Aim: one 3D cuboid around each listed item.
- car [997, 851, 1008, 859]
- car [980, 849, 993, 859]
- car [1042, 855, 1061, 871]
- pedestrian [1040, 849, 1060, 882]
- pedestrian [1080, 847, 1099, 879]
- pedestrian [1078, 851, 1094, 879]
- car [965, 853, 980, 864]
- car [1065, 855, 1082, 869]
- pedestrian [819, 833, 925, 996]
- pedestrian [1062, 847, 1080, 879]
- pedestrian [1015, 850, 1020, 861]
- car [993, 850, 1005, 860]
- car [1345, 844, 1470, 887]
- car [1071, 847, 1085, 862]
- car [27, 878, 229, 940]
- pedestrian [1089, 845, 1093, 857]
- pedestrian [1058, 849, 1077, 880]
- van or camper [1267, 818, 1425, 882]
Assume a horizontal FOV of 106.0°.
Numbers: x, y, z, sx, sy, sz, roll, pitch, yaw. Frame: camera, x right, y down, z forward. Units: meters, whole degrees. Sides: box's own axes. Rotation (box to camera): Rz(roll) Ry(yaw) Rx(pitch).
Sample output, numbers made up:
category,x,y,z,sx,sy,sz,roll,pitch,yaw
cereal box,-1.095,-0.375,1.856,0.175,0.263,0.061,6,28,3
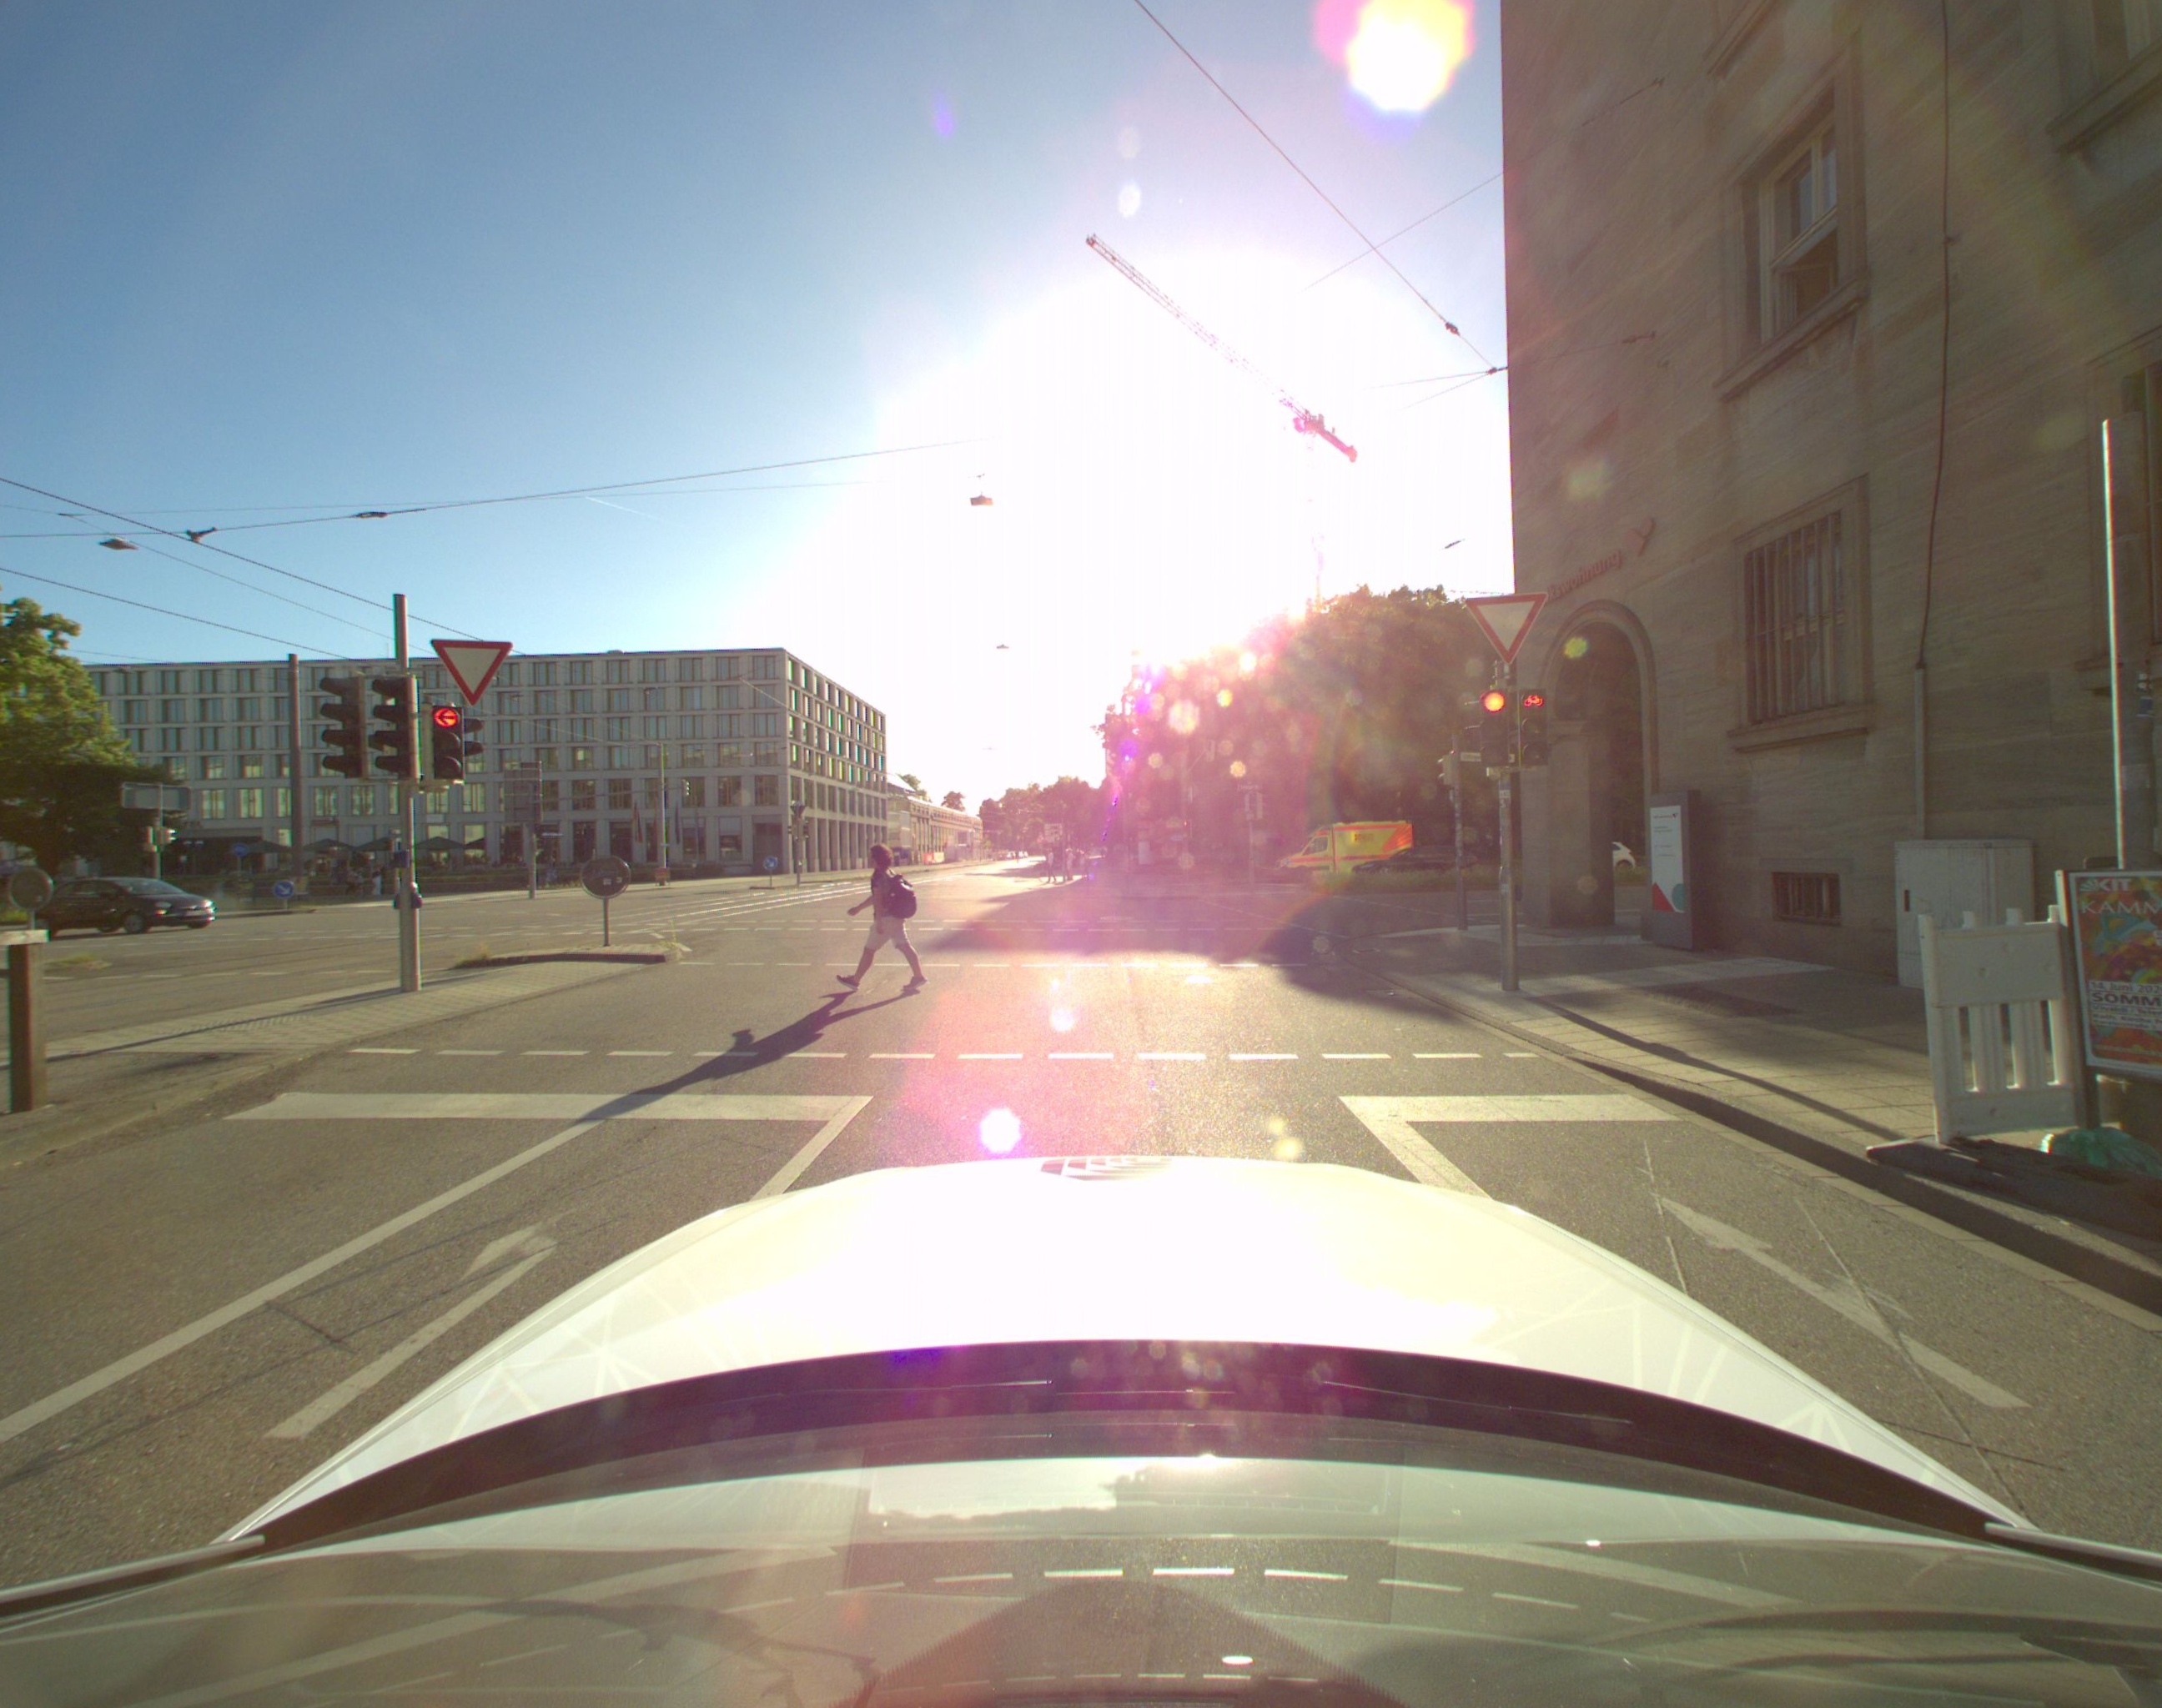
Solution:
category,x,y,z,sx,sy,sz,roll,pitch,yaw
car,-15.451,0.136,160.682,1.603,1.498,3.807,-2,0,2
car,-16.799,-0.077,144.993,1.812,1.712,3.807,-2,0,2
car,-2.942,0.910,82.099,1.678,1.501,3.510,0,-1,2
pedestrian,-1.721,0.650,45.062,0.967,1.784,0.776,-2,0,-15
pedestrian,0.474,0.518,45.986,0.849,1.784,0.776,-2,0,-15
pedestrian,0.280,0.647,46.706,0.763,1.558,0.585,-2,0,-15
car,-17.816,0.743,134.112,1.812,1.712,3.807,-2,0,2
car,-0.836,0.906,92.215,1.678,1.501,3.510,0,-1,2
pedestrian,-2.357,0.650,9.335,1.039,1.721,1.032,-2,0,-10
pedestrian,-0.576,0.509,46.616,0.849,1.784,0.776,-2,0,-15
pedestrian,-8.723,0.258,111.901,0.522,1.484,0.437,0,-1,0
car,-15.733,0.221,156.436,1.812,1.712,3.807,-2,0,2
car,13.069,0.468,32.776,4.297,1.647,1.889,0,-1,2
car,-0.369,0.114,107.847,1.678,1.962,3.510,0,-1,2
car,-25.281,1.432,21.697,3.519,1.506,1.522,-1,0,-1
pedestrian,3.000,-1.003,246.142,1.396,3.597,1.568,0,-1,1
pedestrian,-0.790,0.613,47.410,0.849,1.784,0.776,-2,0,-15
van or camper,12.384,-0.160,38.539,6.674,2.862,2.915,0,-1,6
